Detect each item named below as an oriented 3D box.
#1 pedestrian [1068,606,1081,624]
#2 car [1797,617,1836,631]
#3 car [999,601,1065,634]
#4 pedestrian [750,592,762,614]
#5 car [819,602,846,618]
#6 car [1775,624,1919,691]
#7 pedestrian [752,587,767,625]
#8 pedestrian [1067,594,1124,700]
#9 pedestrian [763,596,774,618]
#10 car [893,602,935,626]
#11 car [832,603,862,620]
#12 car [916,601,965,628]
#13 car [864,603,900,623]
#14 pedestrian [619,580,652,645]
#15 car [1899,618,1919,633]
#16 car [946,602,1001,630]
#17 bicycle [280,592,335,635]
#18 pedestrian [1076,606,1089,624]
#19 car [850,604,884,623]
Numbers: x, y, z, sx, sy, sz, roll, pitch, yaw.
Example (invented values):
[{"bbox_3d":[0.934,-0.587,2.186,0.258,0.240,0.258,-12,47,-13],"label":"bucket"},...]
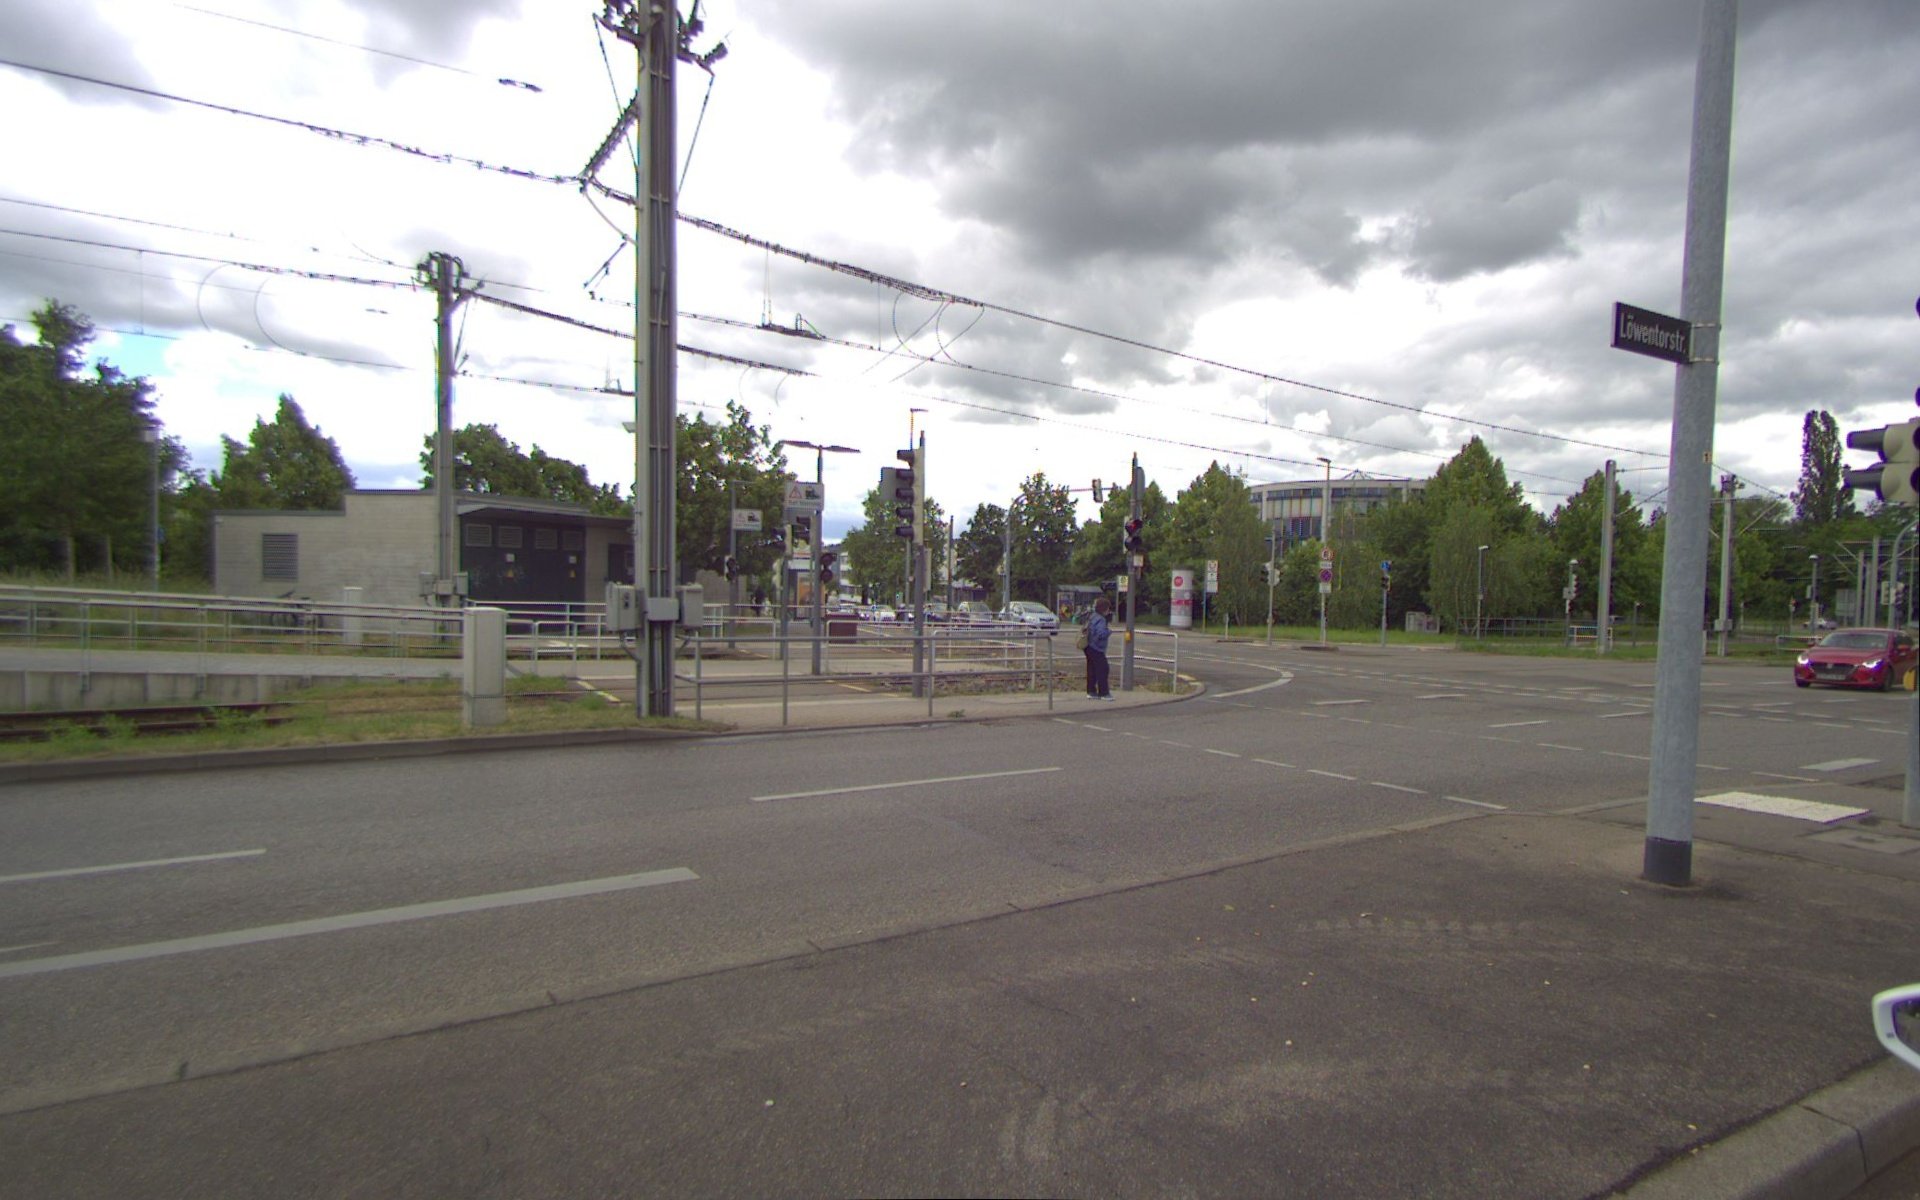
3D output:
[{"bbox_3d":[8.295,1.081,72.909,0.652,1.321,0.780,1,0,-16],"label":"pedestrian"},{"bbox_3d":[115.312,3.202,135.311,1.960,1.706,4.002,2,0,4],"label":"car"},{"bbox_3d":[3.298,0.801,46.805,1.706,1.456,3.731,1,0,-20],"label":"car"},{"bbox_3d":[-15.142,0.202,74.542,0.771,1.649,0.660,1,0,-22],"label":"pedestrian"},{"bbox_3d":[-11.938,0.964,94.067,1.706,1.456,3.731,1,0,-20],"label":"car"},{"bbox_3d":[21.813,1.344,24.457,4.377,1.462,1.771,1,-1,-33],"label":"car"},{"bbox_3d":[-10.904,0.320,54.585,0.738,1.993,0.795,1,0,-9],"label":"pedestrian"},{"bbox_3d":[2.079,0.703,15.435,0.701,1.584,0.533,1,1,-44],"label":"pedestrian"},{"bbox_3d":[-14.716,0.551,77.114,0.695,1.649,0.629,1,0,-24],"label":"pedestrian"},{"bbox_3d":[-3.009,0.890,64.926,1.706,1.456,3.731,1,0,-20],"label":"car"},{"bbox_3d":[-9.775,0.988,86.711,1.706,1.456,3.731,1,0,-20],"label":"car"},{"bbox_3d":[-1.155,0.818,58.160,1.706,1.456,3.731,1,0,-20],"label":"car"},{"bbox_3d":[-5.818,0.964,74.777,1.706,1.456,3.731,1,0,-20],"label":"car"},{"bbox_3d":[-8.229,0.313,25.450,0.696,1.628,0.654,1,0,-25],"label":"pedestrian"},{"bbox_3d":[114.468,3.099,119.480,1.959,1.706,4.002,2,0,7],"label":"car"},{"bbox_3d":[0.685,0.845,53.664,1.706,1.456,3.731,1,0,-20],"label":"car"},{"bbox_3d":[-17.330,0.347,26.672,1.452,1.101,0.492,1,0,22],"label":"bicycle"},{"bbox_3d":[8.728,1.067,71.584,0.652,1.322,0.780,1,0,-16],"label":"pedestrian"},{"bbox_3d":[-7.424,1.024,79.680,1.706,1.456,3.991,1,0,-20],"label":"car"}]
